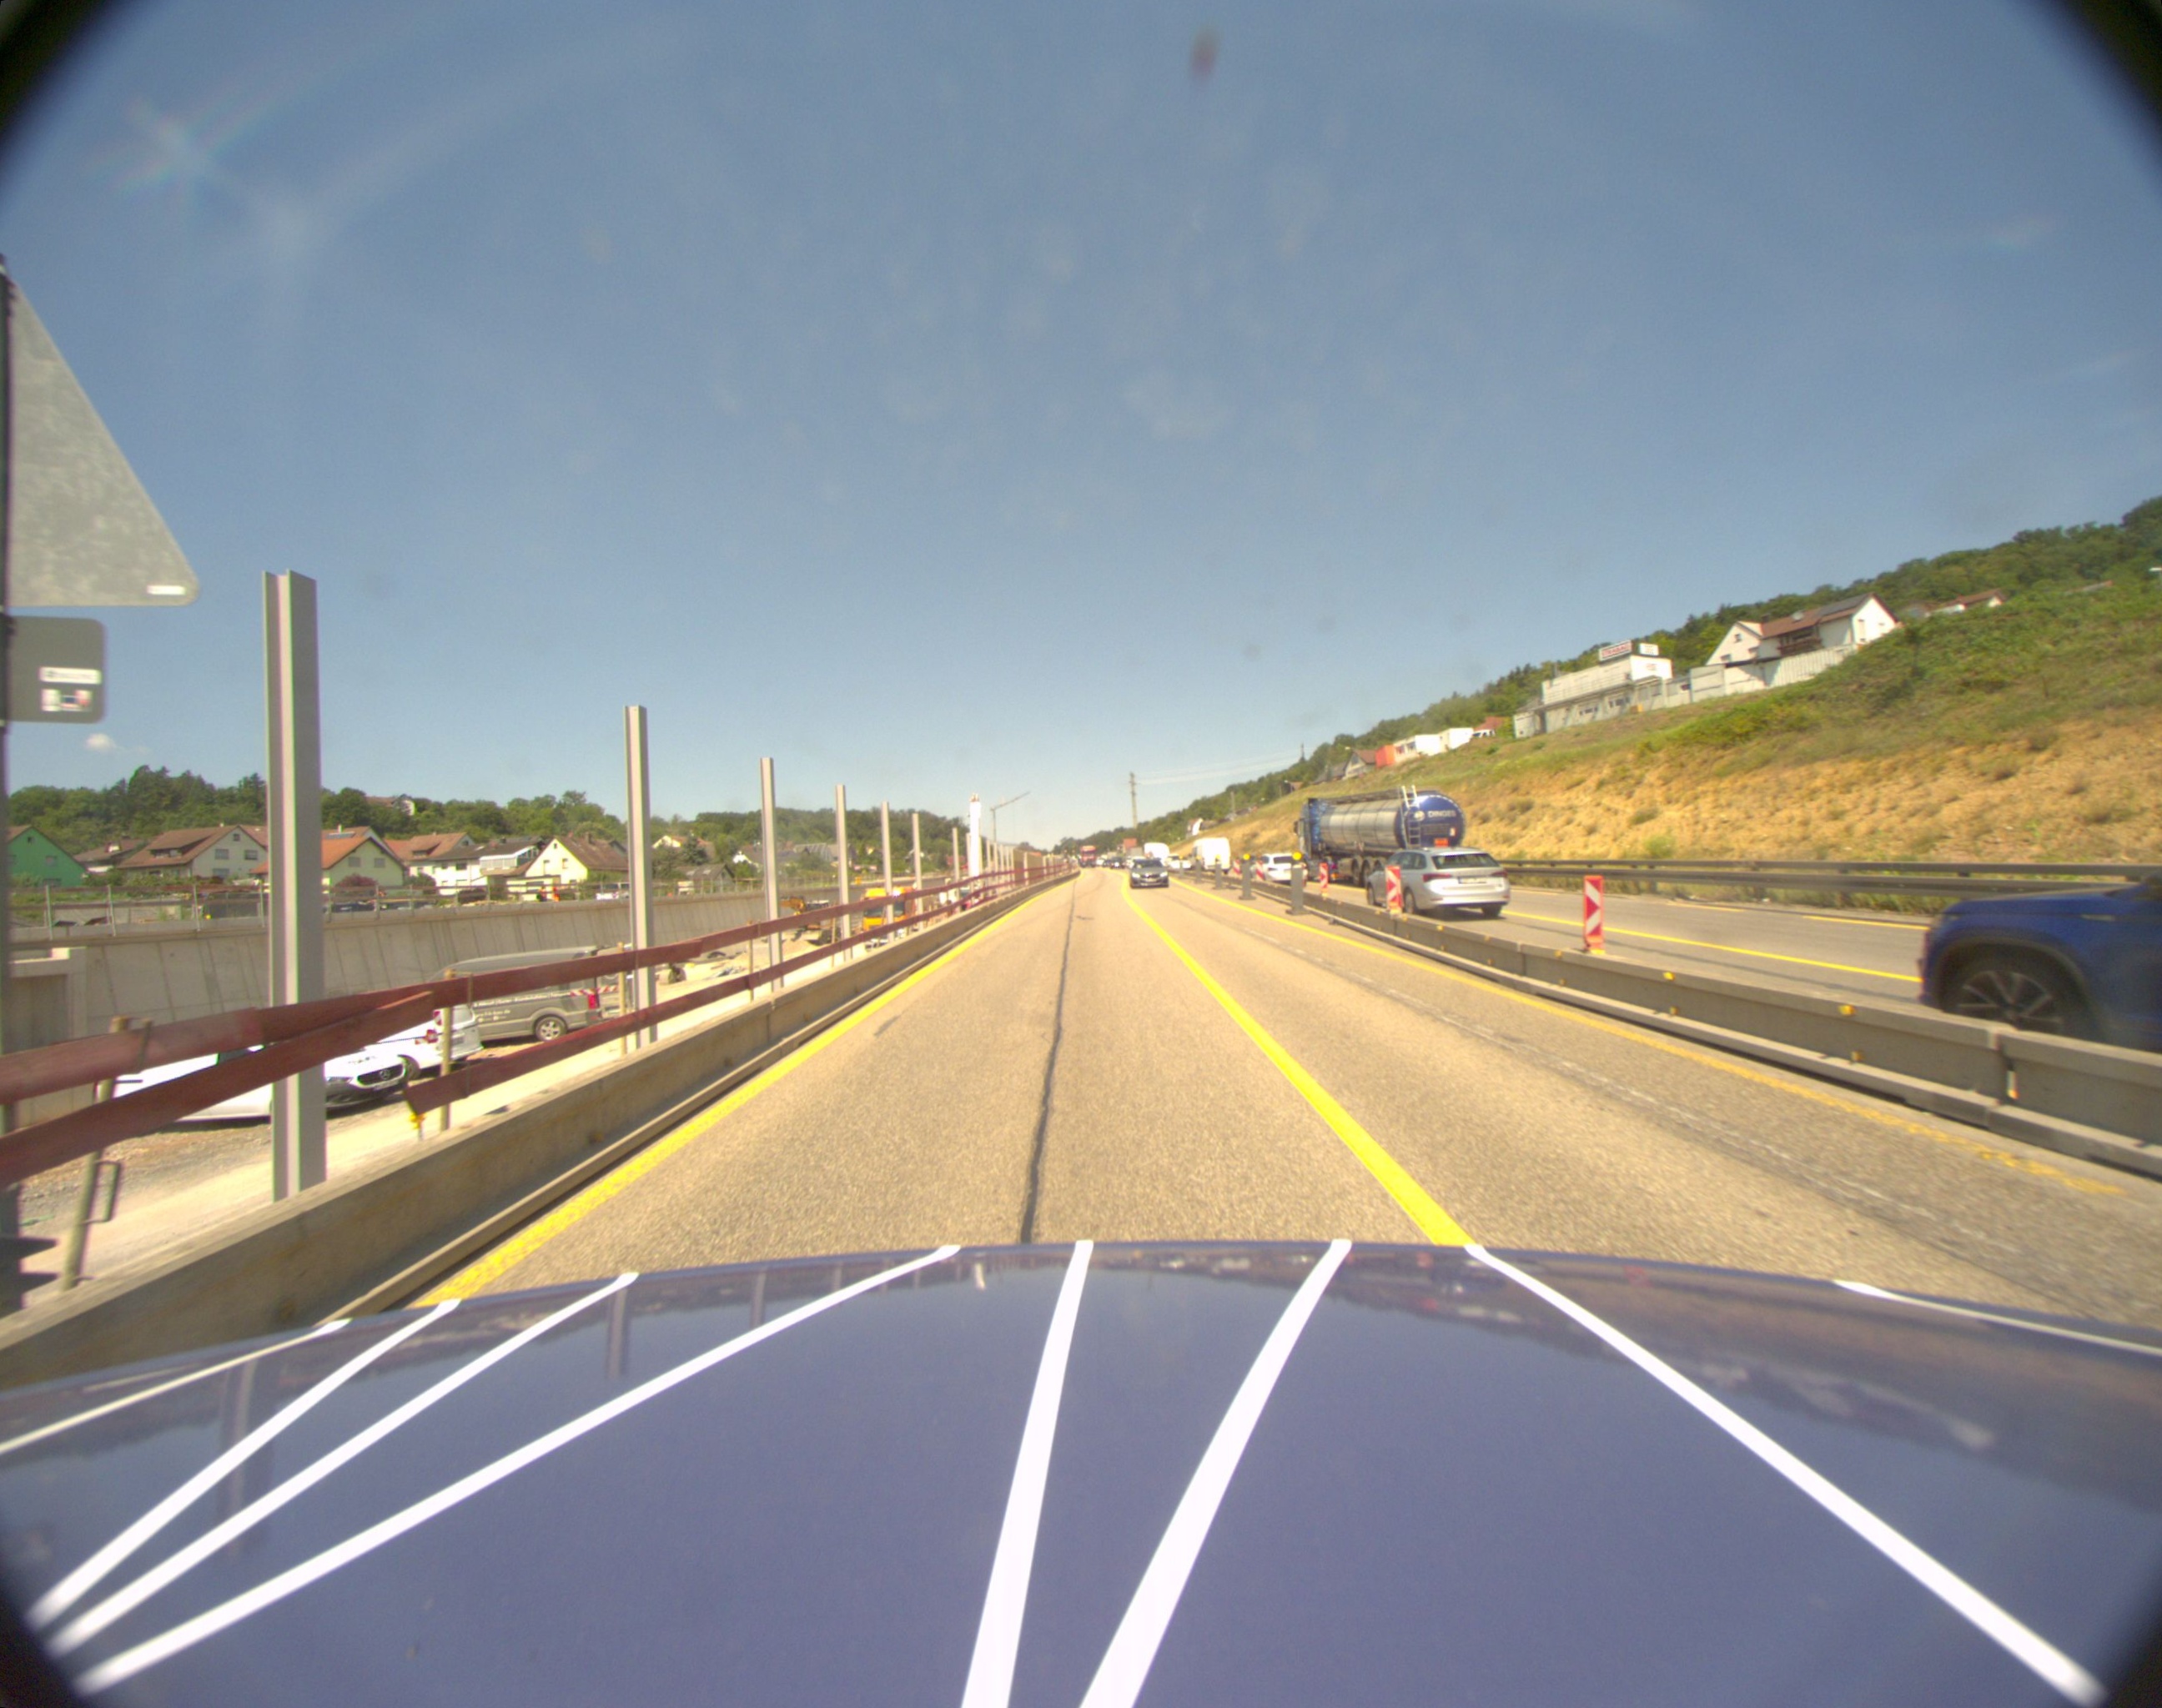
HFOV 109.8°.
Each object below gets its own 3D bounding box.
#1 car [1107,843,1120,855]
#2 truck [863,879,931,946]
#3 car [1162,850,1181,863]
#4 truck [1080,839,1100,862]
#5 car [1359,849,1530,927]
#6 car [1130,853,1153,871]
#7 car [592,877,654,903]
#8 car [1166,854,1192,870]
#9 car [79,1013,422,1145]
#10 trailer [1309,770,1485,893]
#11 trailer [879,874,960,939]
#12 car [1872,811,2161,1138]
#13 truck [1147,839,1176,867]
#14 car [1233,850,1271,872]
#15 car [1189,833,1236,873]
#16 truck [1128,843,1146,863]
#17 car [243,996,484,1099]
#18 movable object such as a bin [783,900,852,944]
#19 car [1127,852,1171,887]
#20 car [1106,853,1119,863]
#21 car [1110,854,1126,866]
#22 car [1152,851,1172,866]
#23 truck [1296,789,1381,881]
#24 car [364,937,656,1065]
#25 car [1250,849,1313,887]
[{"bbox_3d":[8.355,-1.192,195.260,2.926,2.863,6.696,-2,0,0],"label":"car"},{"bbox_3d":[-10.732,3.331,44.843,2.504,3.385,5.436,-2,1,1],"label":"truck"},{"bbox_3d":[11.981,0.374,100.769,1.838,1.626,4.389,-2,0,0],"label":"car"},{"bbox_3d":[1.788,-0.718,142.870,3.463,4.023,10.210,-2,1,1],"label":"truck"},{"bbox_3d":[7.696,0.641,16.621,1.837,1.421,4.536,-2,0,5],"label":"car"},{"bbox_3d":[5.339,0.704,67.424,1.838,1.465,4.390,-2,0,2],"label":"car"},{"bbox_3d":[-33.142,2.576,55.141,1.658,1.594,4.605,-2,1,0],"label":"car"},{"bbox_3d":[9.034,0.707,70.289,1.838,1.368,4.389,-2,0,0],"label":"car"},{"bbox_3d":[-16.322,4.394,15.104,4.801,1.759,1.720,-4,1,1],"label":"car"},{"bbox_3d":[11.866,-0.773,30.104,2.606,3.848,11.274,-2,1,3],"label":"trailer"},{"bbox_3d":[-10.634,3.309,51.680,2.446,3.333,12.893,-2,1,1],"label":"trailer"},{"bbox_3d":[6.327,0.577,2.902,1.838,1.654,4.685,-2,0,3],"label":"car"},{"bbox_3d":[12.616,-0.260,120.094,3.115,4.023,13.156,-2,1,1],"label":"truck"},{"bbox_3d":[12.582,0.483,56.142,1.838,1.482,4.389,-2,0,1],"label":"car"},{"bbox_3d":[9.478,-0.063,55.322,2.211,2.614,6.627,-2,0,0],"label":"car"},{"bbox_3d":[12.315,-0.303,166.915,3.148,4.023,10.210,-2,1,1],"label":"truck"},{"bbox_3d":[-16.907,4.548,18.081,3.871,1.676,1.692,-4,0,-5],"label":"car"},{"bbox_3d":[-19.285,4.943,55.790,3.266,2.769,4.001,-2,1,6],"label":"movable object such as a bin"},{"bbox_3d":[3.326,0.731,37.725,1.838,1.587,4.390,-2,0,2],"label":"car"},{"bbox_3d":[5.297,0.627,127.154,1.801,1.542,4.000,-3,-1,-2],"label":"car"},{"bbox_3d":[5.104,0.854,104.064,1.801,1.542,4.000,-3,-1,-2],"label":"car"},{"bbox_3d":[9.727,0.559,91.485,1.838,1.626,4.389,-2,0,0],"label":"car"},{"bbox_3d":[12.133,-0.869,36.185,2.588,3.954,4.589,-2,1,3],"label":"truck"},{"bbox_3d":[-16.231,4.127,22.042,6.308,2.565,2.053,-5,-1,-13],"label":"car"},{"bbox_3d":[8.854,0.576,33.910,1.837,1.510,4.845,-2,0,5],"label":"car"}]
